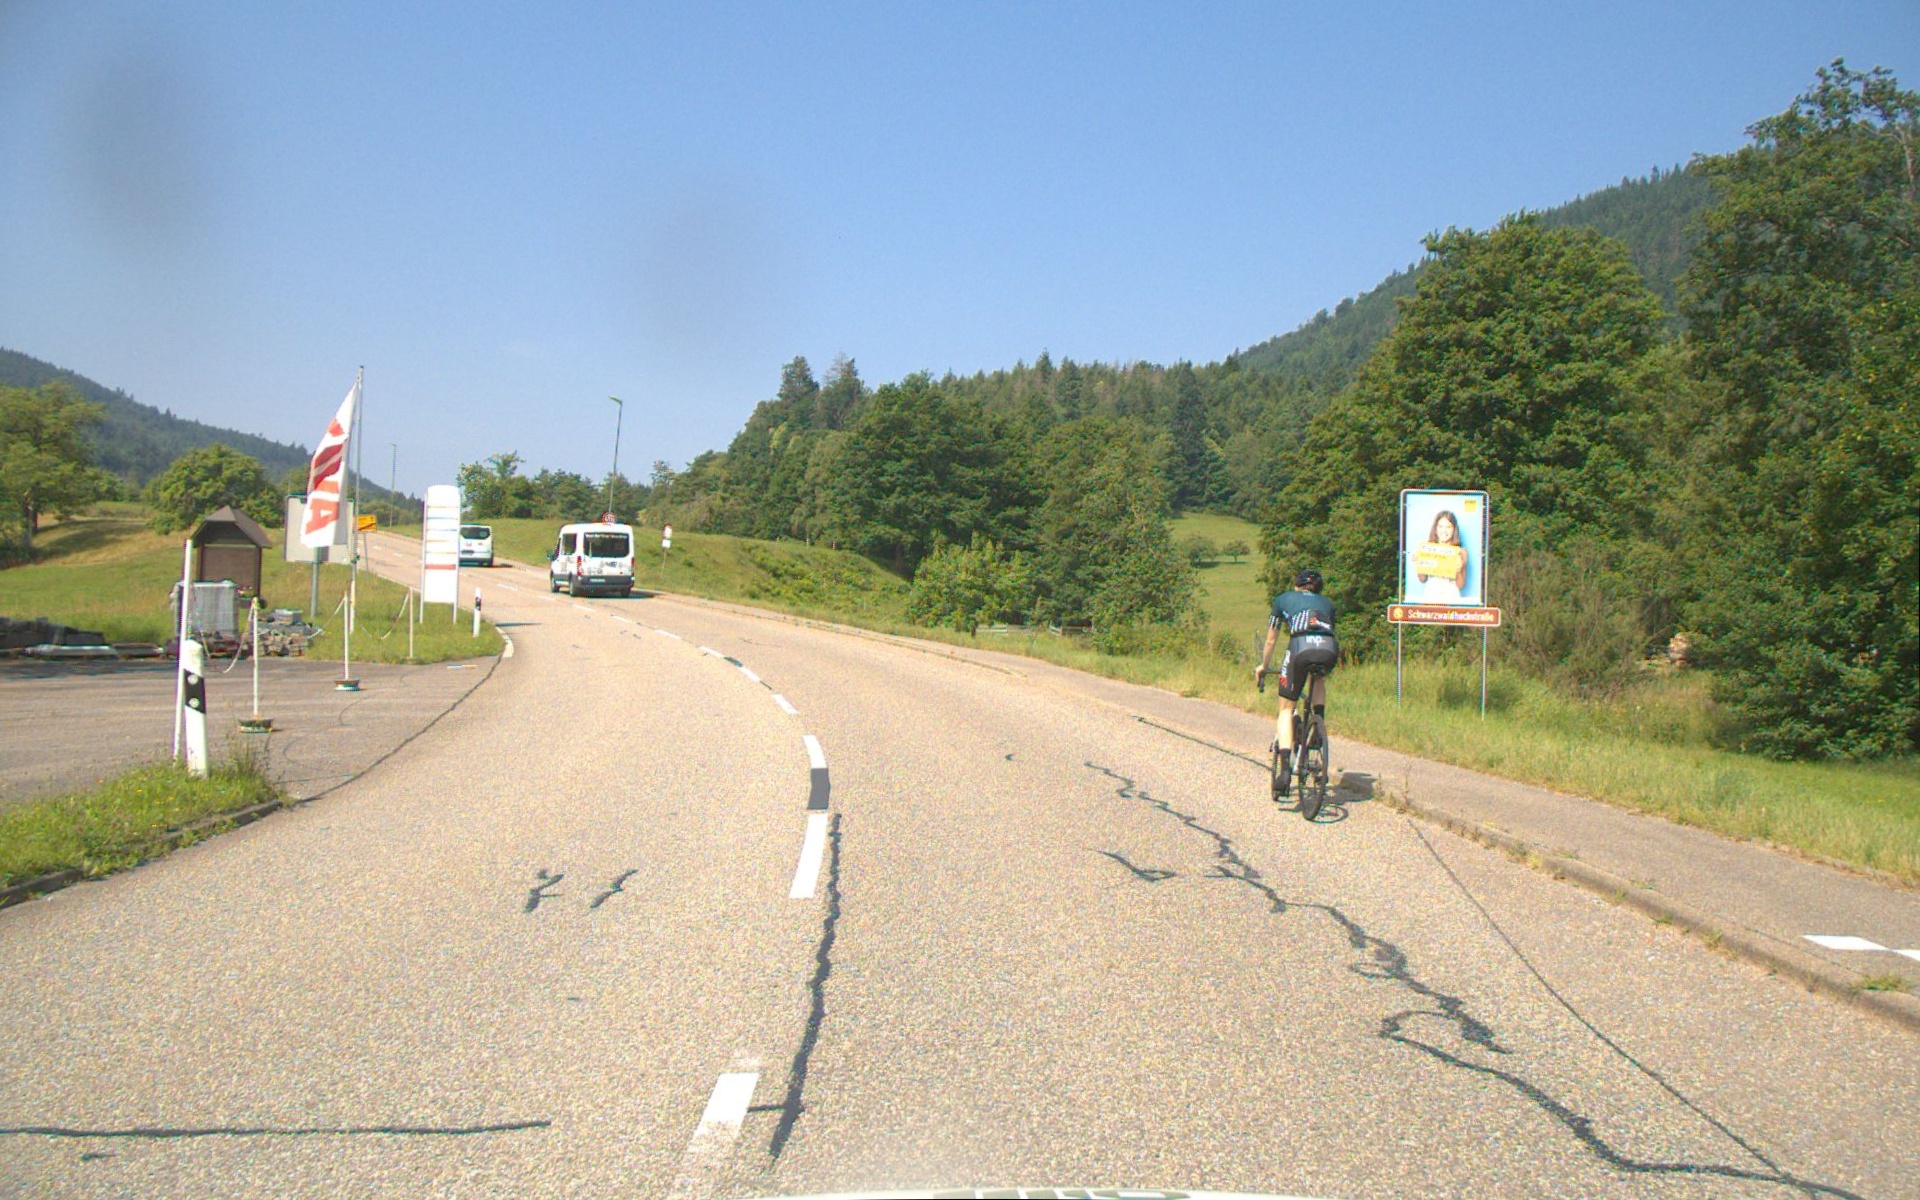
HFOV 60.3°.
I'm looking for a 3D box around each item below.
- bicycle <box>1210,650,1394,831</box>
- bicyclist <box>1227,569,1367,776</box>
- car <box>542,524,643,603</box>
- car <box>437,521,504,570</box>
[{"bbox_3d":[2.353,0.931,11.623,0.569,1.053,1.986,-2,1,-9],"label":"bicycle"},{"bbox_3d":[2.345,0.473,11.617,0.569,1.366,1.143,-2,1,-9],"label":"bicyclist"},{"bbox_3d":[-12.771,-1.273,57.205,2.197,2.569,4.940,-2,2,-27],"label":"car"},{"bbox_3d":[-24.304,-2.681,82.015,2.198,2.326,4.939,-2,2,-28],"label":"car"}]
